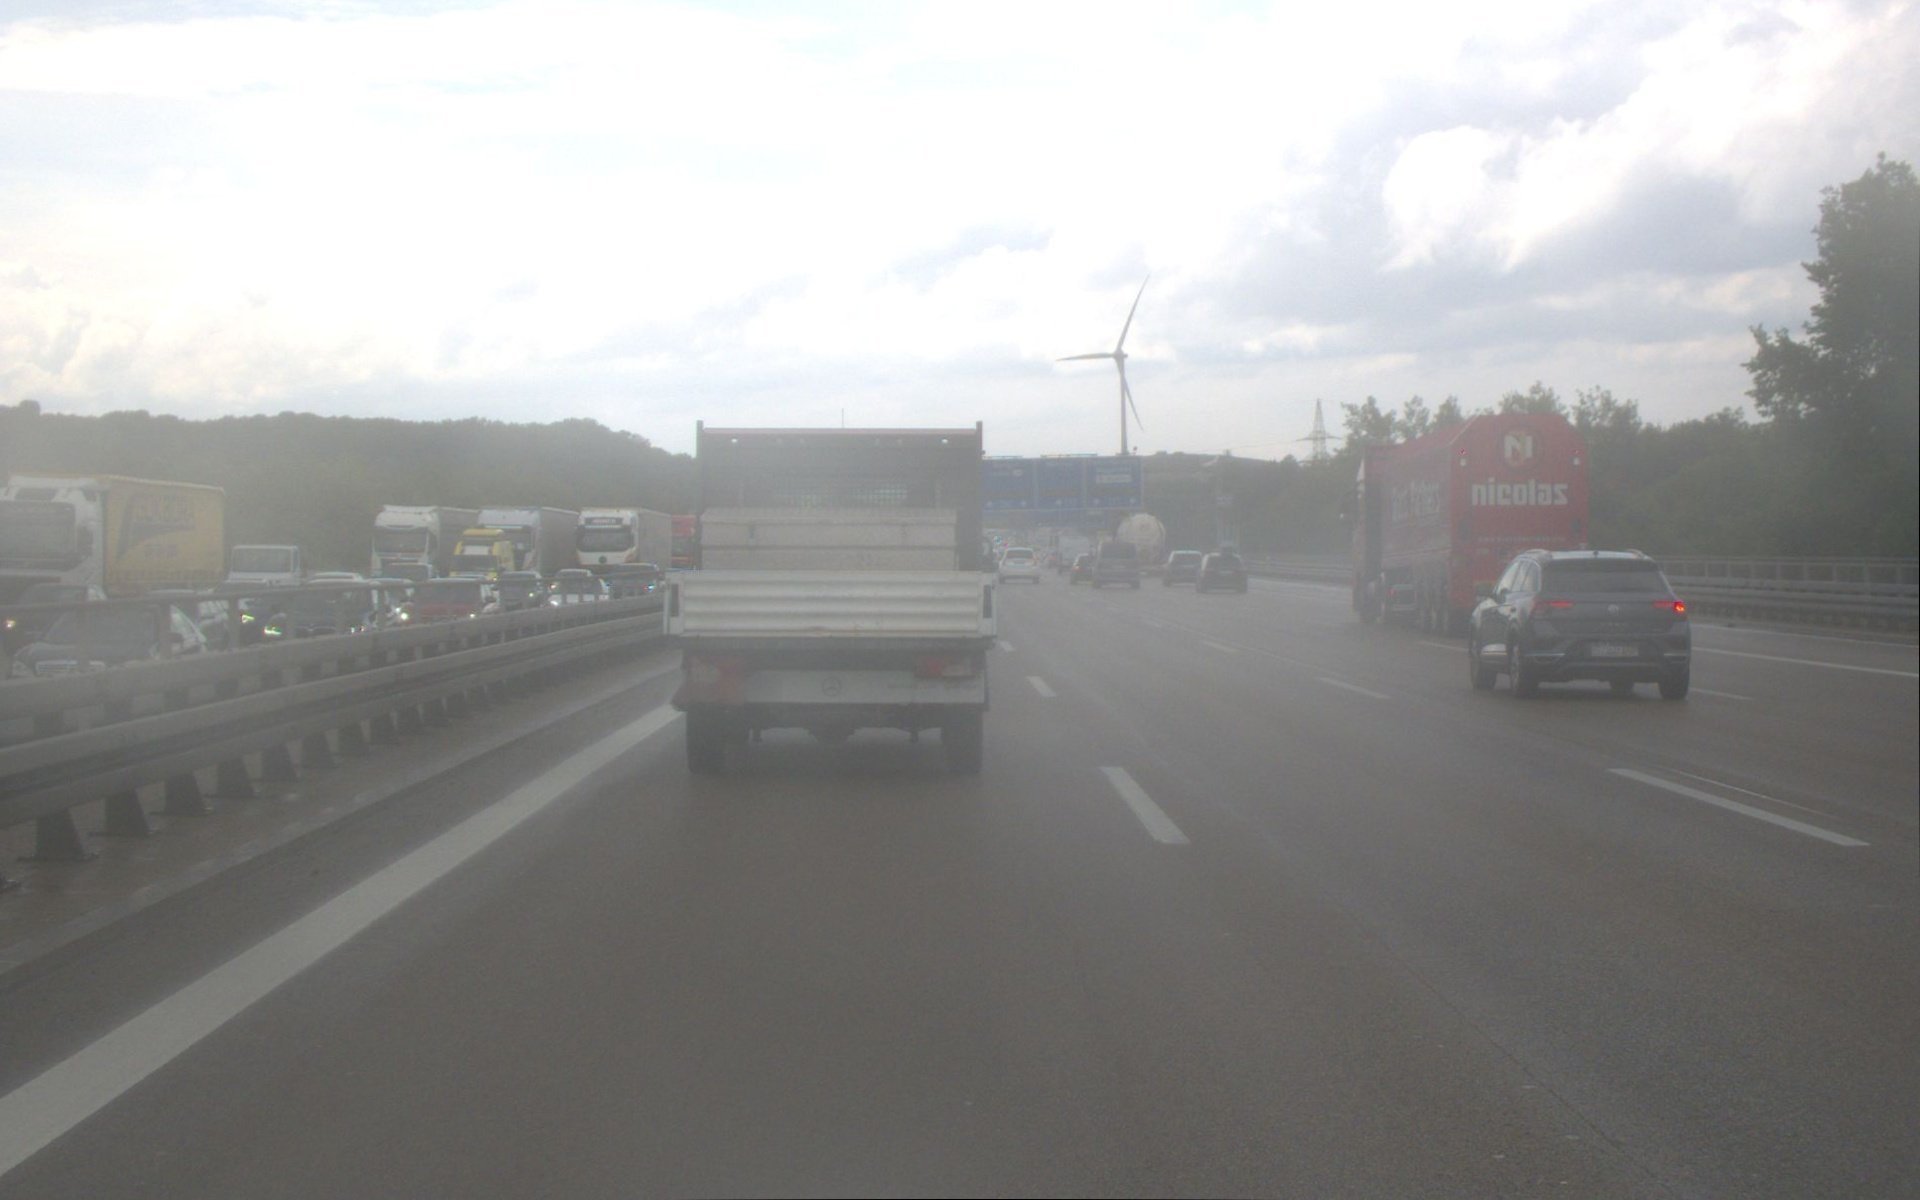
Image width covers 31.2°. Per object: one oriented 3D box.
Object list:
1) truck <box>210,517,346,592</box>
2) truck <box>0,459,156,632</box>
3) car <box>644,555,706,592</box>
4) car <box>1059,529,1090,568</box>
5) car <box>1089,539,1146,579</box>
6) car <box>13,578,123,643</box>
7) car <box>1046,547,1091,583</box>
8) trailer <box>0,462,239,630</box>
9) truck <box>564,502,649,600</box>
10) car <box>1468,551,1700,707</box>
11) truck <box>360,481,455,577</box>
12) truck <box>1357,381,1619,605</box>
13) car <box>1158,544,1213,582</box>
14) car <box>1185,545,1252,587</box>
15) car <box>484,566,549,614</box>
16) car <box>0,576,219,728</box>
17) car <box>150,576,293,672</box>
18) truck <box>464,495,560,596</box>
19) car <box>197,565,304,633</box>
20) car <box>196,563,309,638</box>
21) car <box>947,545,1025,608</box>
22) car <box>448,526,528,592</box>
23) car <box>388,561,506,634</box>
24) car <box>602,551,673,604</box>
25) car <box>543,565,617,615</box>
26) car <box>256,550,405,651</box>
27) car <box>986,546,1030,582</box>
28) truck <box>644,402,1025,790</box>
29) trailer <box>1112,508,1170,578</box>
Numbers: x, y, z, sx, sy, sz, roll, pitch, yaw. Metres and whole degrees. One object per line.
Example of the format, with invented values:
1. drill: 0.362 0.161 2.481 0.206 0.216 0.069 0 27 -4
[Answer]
1. truck: -22.738 -1.518 115.110 2.680 2.363 9.275 -1 1 0
2. truck: -23.047 -1.374 87.951 3.247 4.235 6.882 -1 1 0
3. car: -11.326 -1.068 136.977 2.015 1.382 5.459 -1 1 0
4. car: 7.489 -3.377 224.830 2.045 2.489 4.000 0 1 2
5. car: 6.655 -1.745 145.647 2.097 1.693 4.000 0 1 -1
6. car: -18.806 0.201 72.605 1.447 1.296 4.000 -1 1 -3
7. car: 5.160 -1.684 163.775 2.045 1.693 4.000 0 1 1
8. trailer: -23.044 -1.467 94.715 3.247 4.213 14.510 -1 1 0
9. truck: -15.523 -2.146 151.364 2.880 4.166 7.557 -1 1 0
10. car: 6.520 0.270 36.271 1.792 1.557 3.722 0 1 1
11. truck: -23.522 -2.996 146.693 2.759 3.980 6.576 -1 1 2
12. truck: 10.317 -2.051 69.189 3.152 3.989 15.637 0 1 1
13. car: 10.181 -1.698 155.521 2.045 1.693 5.007 0 1 -1
14. car: 9.963 -1.331 132.841 2.105 1.600 5.066 0 1 -1
15. car: -15.336 -0.361 119.074 1.747 1.571 4.690 -1 1 -2
16. car: -11.356 0.637 45.926 1.865 1.820 5.710 -1 1 -2
17. car: -13.955 0.423 65.161 1.857 1.702 4.000 -1 1 0
18. truck: -19.041 -2.308 146.498 2.904 4.133 7.101 -1 1 2
19. car: -18.261 -0.038 88.680 1.993 1.656 4.000 -1 1 -1
20. car: -15.959 -0.022 77.691 1.779 1.606 4.578 -1 1 -3
21. car: 0.742 -0.665 94.349 2.045 1.693 4.000 0 1 2
22. car: -18.395 -1.607 134.274 2.156 2.496 6.773 -1 1 0
23. car: -10.992 -0.086 73.951 1.994 1.458 4.842 -1 1 -2
24. car: -11.134 -0.800 118.852 1.913 1.760 5.332 -1 1 0
25. car: -11.131 -0.317 100.977 1.762 1.378 4.821 -1 1 -2
26. car: -11.080 -0.029 60.840 1.867 1.664 5.175 -1 1 -2
27. car: 2.327 -1.772 168.176 1.972 1.693 4.000 0 1 -1
28. truck: -0.877 -0.089 25.124 2.353 2.400 7.359 1 1 -1
29. trailer: 11.183 -3.527 213.472 3.333 4.161 11.837 0 1 2
